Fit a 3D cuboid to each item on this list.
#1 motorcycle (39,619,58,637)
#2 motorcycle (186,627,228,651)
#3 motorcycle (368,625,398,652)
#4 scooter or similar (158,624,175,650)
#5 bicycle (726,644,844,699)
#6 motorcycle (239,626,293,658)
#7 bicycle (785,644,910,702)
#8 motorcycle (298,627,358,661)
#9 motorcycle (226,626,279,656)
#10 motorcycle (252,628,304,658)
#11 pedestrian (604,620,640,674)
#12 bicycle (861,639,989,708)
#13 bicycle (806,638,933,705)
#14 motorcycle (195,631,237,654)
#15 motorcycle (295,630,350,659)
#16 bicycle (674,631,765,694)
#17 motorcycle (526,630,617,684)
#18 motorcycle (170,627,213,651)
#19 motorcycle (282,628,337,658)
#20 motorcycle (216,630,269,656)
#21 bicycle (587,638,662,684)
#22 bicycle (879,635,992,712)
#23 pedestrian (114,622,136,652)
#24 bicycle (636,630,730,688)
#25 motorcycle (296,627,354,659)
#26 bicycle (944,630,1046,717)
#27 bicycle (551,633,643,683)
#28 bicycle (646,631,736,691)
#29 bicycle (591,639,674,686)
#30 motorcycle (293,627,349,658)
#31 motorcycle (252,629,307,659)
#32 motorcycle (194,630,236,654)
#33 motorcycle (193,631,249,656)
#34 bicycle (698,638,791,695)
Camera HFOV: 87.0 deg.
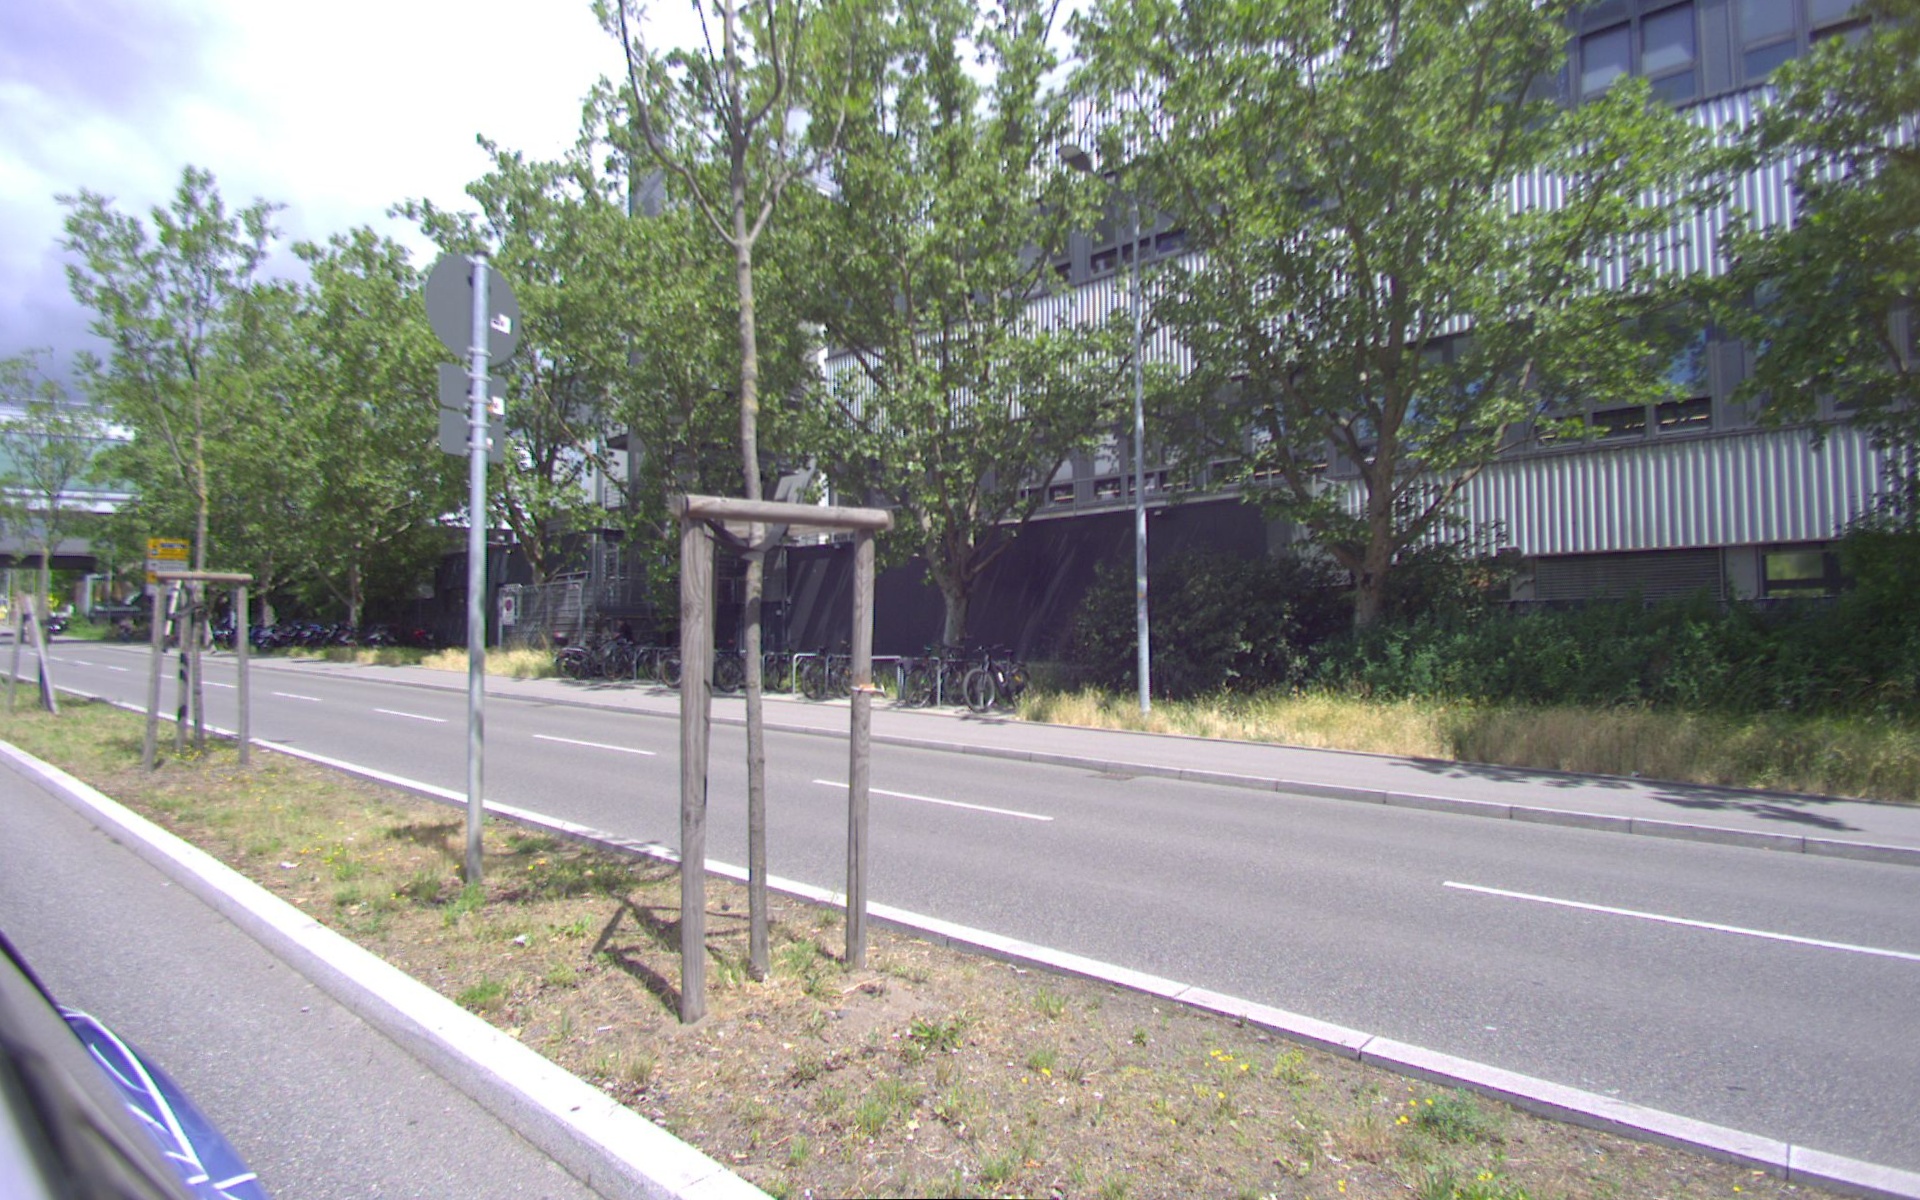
[{"bbox_3d":[-63.042,1.933,70.006,2.255,1.207,0.633,0,1,39],"label":"motorcycle"},{"bbox_3d":[-39.185,2.035,52.668,0.773,1.131,1.579,-3,-1,31],"label":"motorcycle"},{"bbox_3d":[-26.442,1.768,46.376,1.983,1.219,0.645,-3,-1,45],"label":"motorcycle"},{"bbox_3d":[-39.158,1.802,49.918,1.478,1.245,0.350,0,0,40],"label":"scooter or similar"},{"bbox_3d":[-3.683,1.496,21.635,0.848,1.014,2.814,-1,-1,31],"label":"bicycle"},{"bbox_3d":[-31.367,1.878,45.792,1.905,1.354,0.867,-2,-1,-29],"label":"motorcycle"},{"bbox_3d":[-2.235,1.436,20.364,2.532,1.104,0.697,2,-3,-40],"label":"bicycle"},{"bbox_3d":[-24.572,1.702,39.347,1.855,1.182,0.746,-2,-1,-41],"label":"motorcycle"},{"bbox_3d":[-33.110,1.918,47.402,1.905,1.300,0.895,-2,-1,-29],"label":"motorcycle"},{"bbox_3d":[-30.232,1.893,44.870,1.853,1.188,0.817,-2,-1,-35],"label":"motorcycle"},{"bbox_3d":[-10.027,1.373,30.014,0.744,1.563,0.822,0,-1,-40],"label":"pedestrian"},{"bbox_3d":[-0.629,1.368,19.308,2.533,1.166,0.727,0,-1,-40],"label":"bicycle"},{"bbox_3d":[-1.723,1.356,19.684,2.533,1.166,0.645,0,-1,-40],"label":"bicycle"},{"bbox_3d":[-37.285,2.114,50.719,0.776,1.041,1.574,-3,-1,41],"label":"motorcycle"},{"bbox_3d":[-26.438,1.827,41.962,1.853,1.093,0.796,-2,-1,-35],"label":"motorcycle"},{"bbox_3d":[-5.341,1.360,22.566,0.805,1.292,1.899,-1,-1,38],"label":"bicycle"},{"bbox_3d":[-10.146,1.471,26.501,0.805,1.319,2.113,-1,-1,38],"label":"motorcycle"},{"bbox_3d":[-40.867,2.066,53.828,1.721,1.180,0.777,-2,-1,-42],"label":"motorcycle"},{"bbox_3d":[-27.987,1.856,43.545,0.698,1.188,1.857,-3,-1,43],"label":"motorcycle"},{"bbox_3d":[-34.253,2.061,48.348,1.904,1.124,0.924,-2,-1,-23],"label":"motorcycle"},{"bbox_3d":[-8.507,1.524,25.738,0.422,1.083,1.905,-1,-1,38],"label":"bicycle"},{"bbox_3d":[-0.399,1.280,18.207,0.555,1.267,2.379,-2,-2,42],"label":"bicycle"},{"bbox_3d":[-45.678,2.024,55.337,0.812,1.624,0.760,-1,1,39],"label":"pedestrian"},{"bbox_3d":[-6.638,1.396,24.348,0.805,1.292,2.113,-1,-1,38],"label":"bicycle"},{"bbox_3d":[-25.694,1.736,40.946,1.855,1.195,0.730,-2,0,-42],"label":"motorcycle"},{"bbox_3d":[0.624,1.216,17.352,0.489,1.374,2.144,-2,-2,42],"label":"bicycle"},{"bbox_3d":[-9.290,1.467,25.964,0.805,1.189,2.113,-1,-1,38],"label":"bicycle"},{"bbox_3d":[-6.135,1.362,23.185,0.805,1.292,1.899,-1,-1,38],"label":"bicycle"},{"bbox_3d":[-8.184,1.549,25.392,0.497,1.070,2.060,-1,-1,38],"label":"bicycle"},{"bbox_3d":[-27.021,1.797,42.818,0.655,1.219,1.857,-3,-1,43],"label":"motorcycle"},{"bbox_3d":[-29.418,1.906,43.782,1.855,1.188,0.816,-2,-1,-41],"label":"motorcycle"},{"bbox_3d":[-38.151,2.143,51.822,0.776,1.131,1.574,-3,-1,41],"label":"motorcycle"},{"bbox_3d":[-35.831,2.119,49.088,0.917,1.124,1.919,1,-3,28],"label":"motorcycle"},{"bbox_3d":[-4.650,1.416,21.891,0.805,1.131,1.899,-1,-1,38],"label":"bicycle"}]
